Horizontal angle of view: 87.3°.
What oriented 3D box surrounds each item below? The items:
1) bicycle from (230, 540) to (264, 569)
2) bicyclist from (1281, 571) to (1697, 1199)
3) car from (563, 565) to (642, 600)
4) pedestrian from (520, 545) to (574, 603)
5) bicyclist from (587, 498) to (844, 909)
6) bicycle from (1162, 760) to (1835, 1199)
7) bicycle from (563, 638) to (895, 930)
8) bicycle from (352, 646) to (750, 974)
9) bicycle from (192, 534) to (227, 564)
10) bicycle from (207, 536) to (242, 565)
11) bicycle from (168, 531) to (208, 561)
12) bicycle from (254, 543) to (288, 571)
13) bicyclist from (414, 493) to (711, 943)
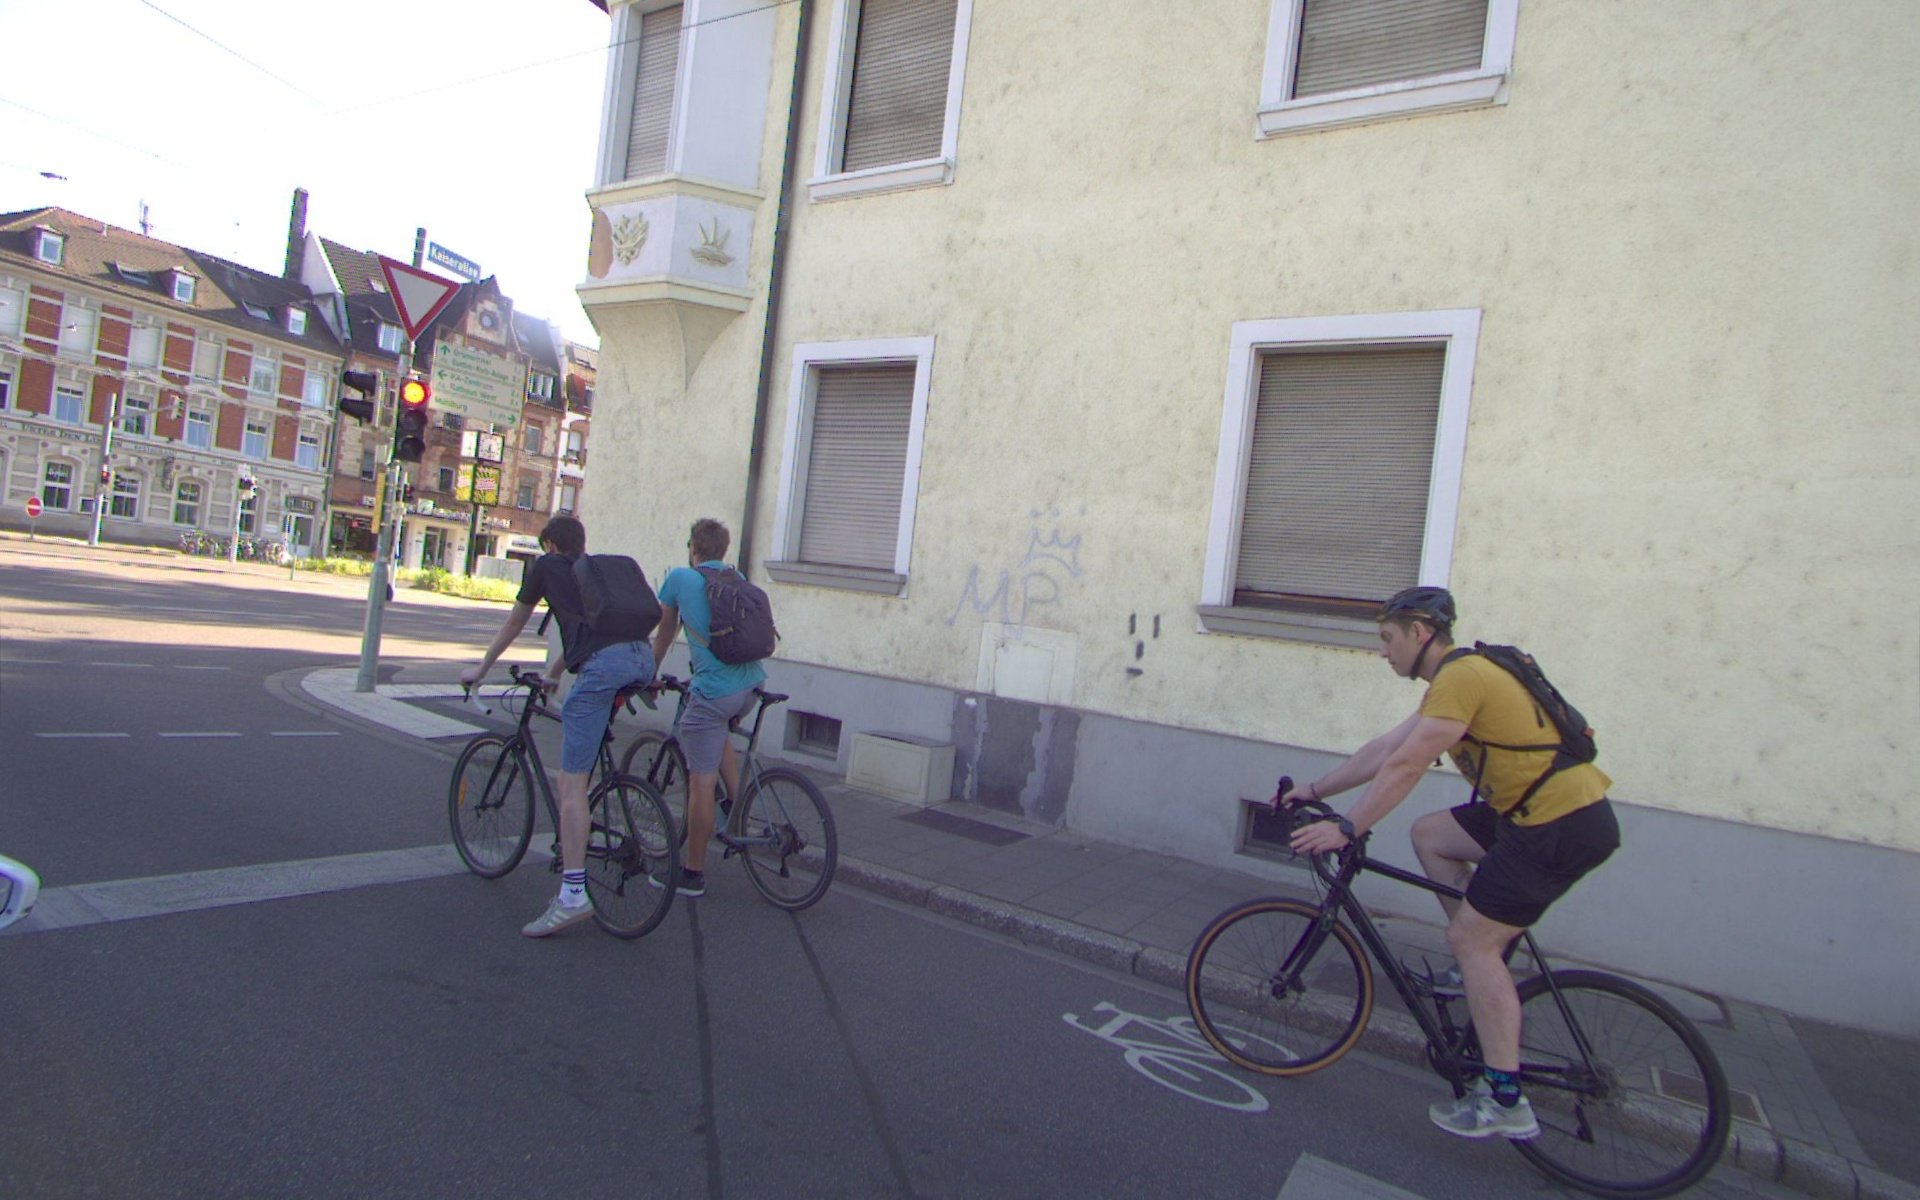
[{"bbox_3d":[-33.682,-2.158,47.524,2.140,1.157,0.618,7,0,37],"label":"bicycle"},{"bbox_3d":[1.703,0.839,3.306,0.940,1.743,0.582,7,0,32],"label":"bicyclist"},{"bbox_3d":[-23.173,-1.118,65.333,2.116,1.660,4.340,7,-1,31],"label":"car"},{"bbox_3d":[-16.571,-1.039,40.390,1.285,2.068,1.321,7,0,31],"label":"pedestrian"},{"bbox_3d":[-1.279,0.490,5.258,0.961,1.917,0.602,6,-1,34],"label":"bicyclist"},{"bbox_3d":[1.709,1.275,3.458,1.780,1.101,0.611,7,0,32],"label":"bicycle"},{"bbox_3d":[-1.263,0.877,5.293,1.784,1.130,0.519,7,0,34],"label":"bicycle"},{"bbox_3d":[-1.924,0.846,4.603,1.897,1.023,0.645,7,0,34],"label":"bicycle"},{"bbox_3d":[-34.550,-2.354,46.295,2.140,1.157,0.618,7,0,37],"label":"bicycle"},{"bbox_3d":[-34.215,-2.306,46.772,2.140,1.157,0.618,7,0,37],"label":"bicycle"},{"bbox_3d":[-35.065,-2.443,45.693,2.140,1.157,0.806,7,0,37],"label":"bicycle"},{"bbox_3d":[-33.117,-2.065,48.328,2.102,1.150,0.609,7,0,37],"label":"bicycle"},{"bbox_3d":[-1.812,0.464,4.557,1.083,1.775,0.562,7,0,34],"label":"bicyclist"}]
